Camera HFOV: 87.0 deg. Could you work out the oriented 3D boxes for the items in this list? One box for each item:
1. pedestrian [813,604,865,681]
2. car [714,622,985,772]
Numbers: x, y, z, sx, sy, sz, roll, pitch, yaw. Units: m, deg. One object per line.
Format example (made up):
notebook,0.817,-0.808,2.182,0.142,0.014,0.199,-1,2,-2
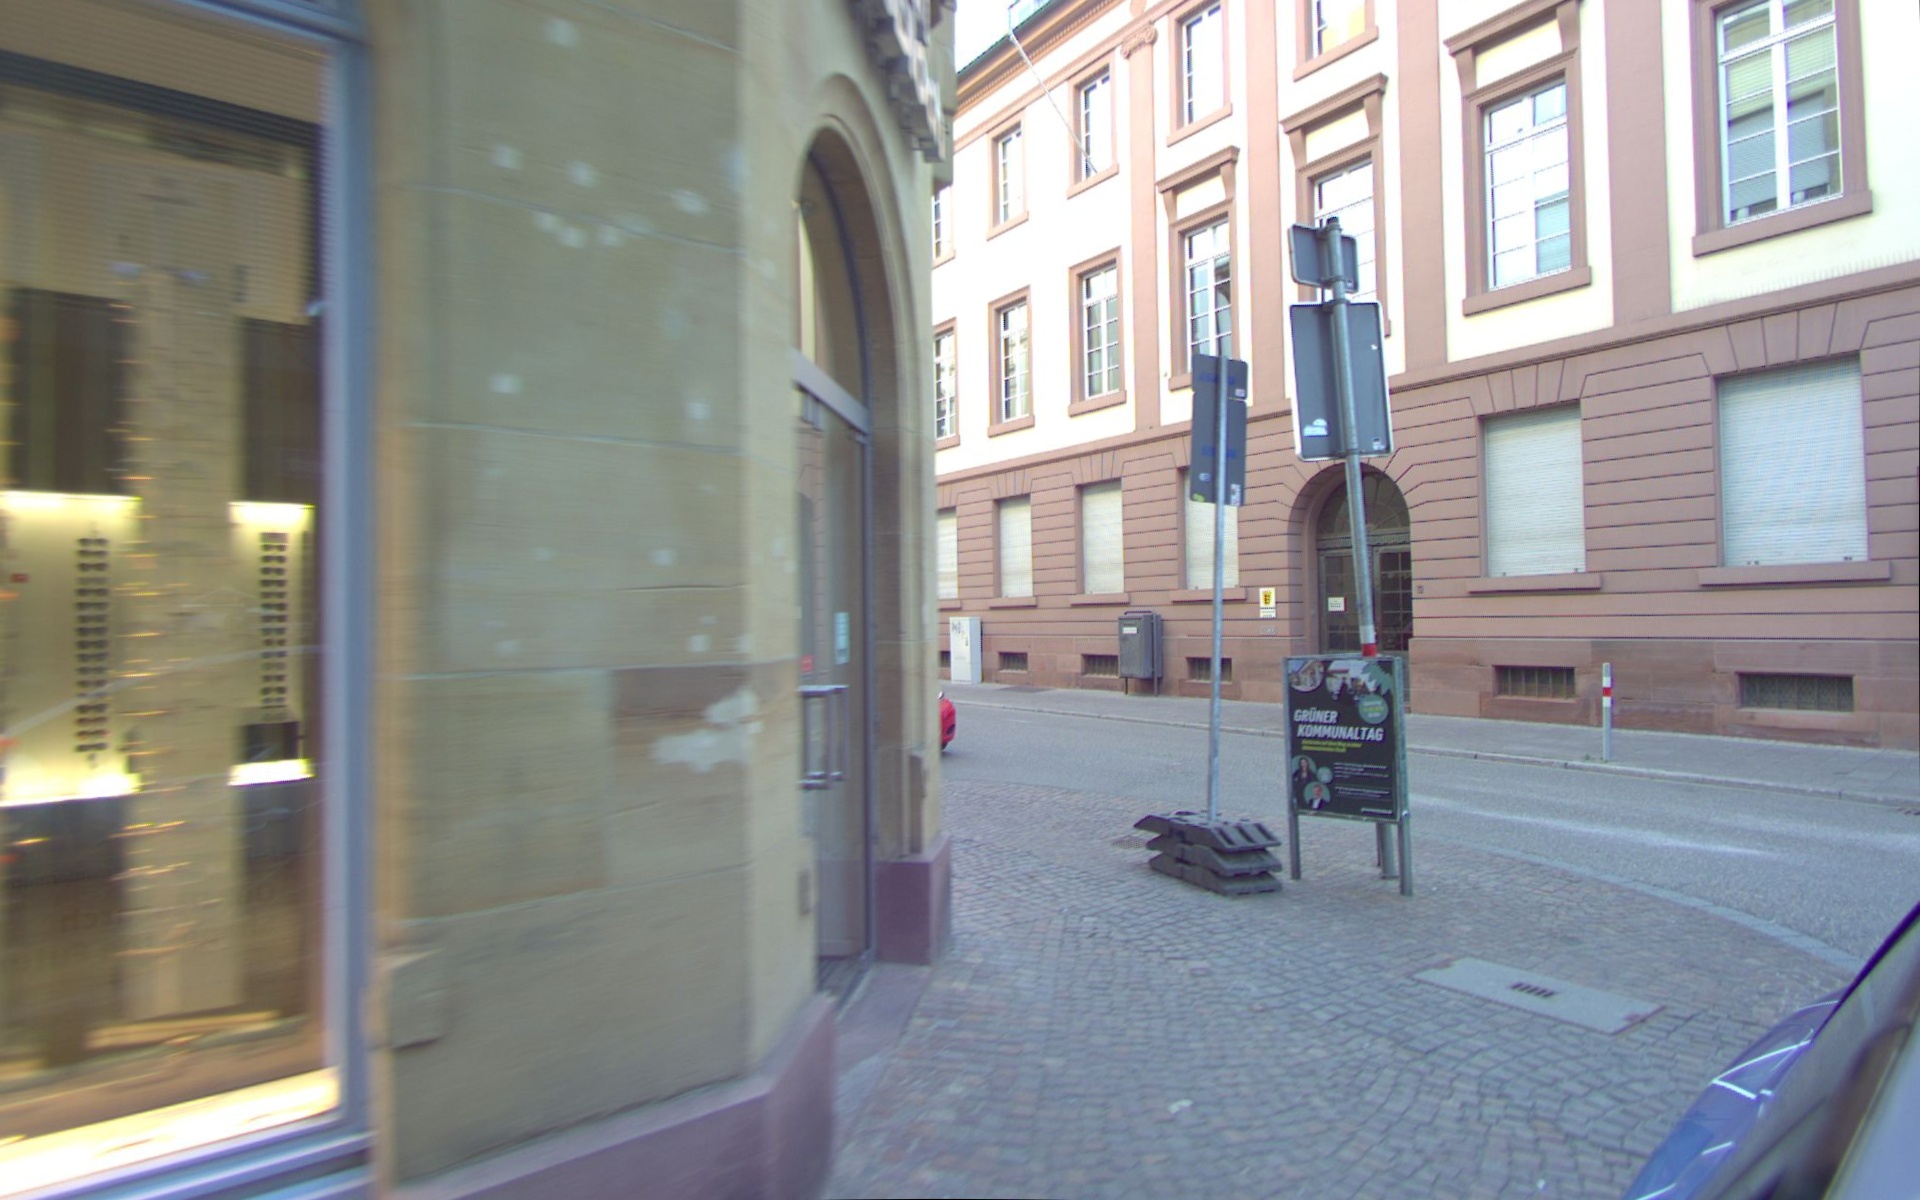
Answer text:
pedestrian,-2.940,1.006,24.488,0.912,1.801,0.941,0,-1,-34
car,-1.541,1.065,12.642,1.619,1.460,3.999,-3,0,-34
